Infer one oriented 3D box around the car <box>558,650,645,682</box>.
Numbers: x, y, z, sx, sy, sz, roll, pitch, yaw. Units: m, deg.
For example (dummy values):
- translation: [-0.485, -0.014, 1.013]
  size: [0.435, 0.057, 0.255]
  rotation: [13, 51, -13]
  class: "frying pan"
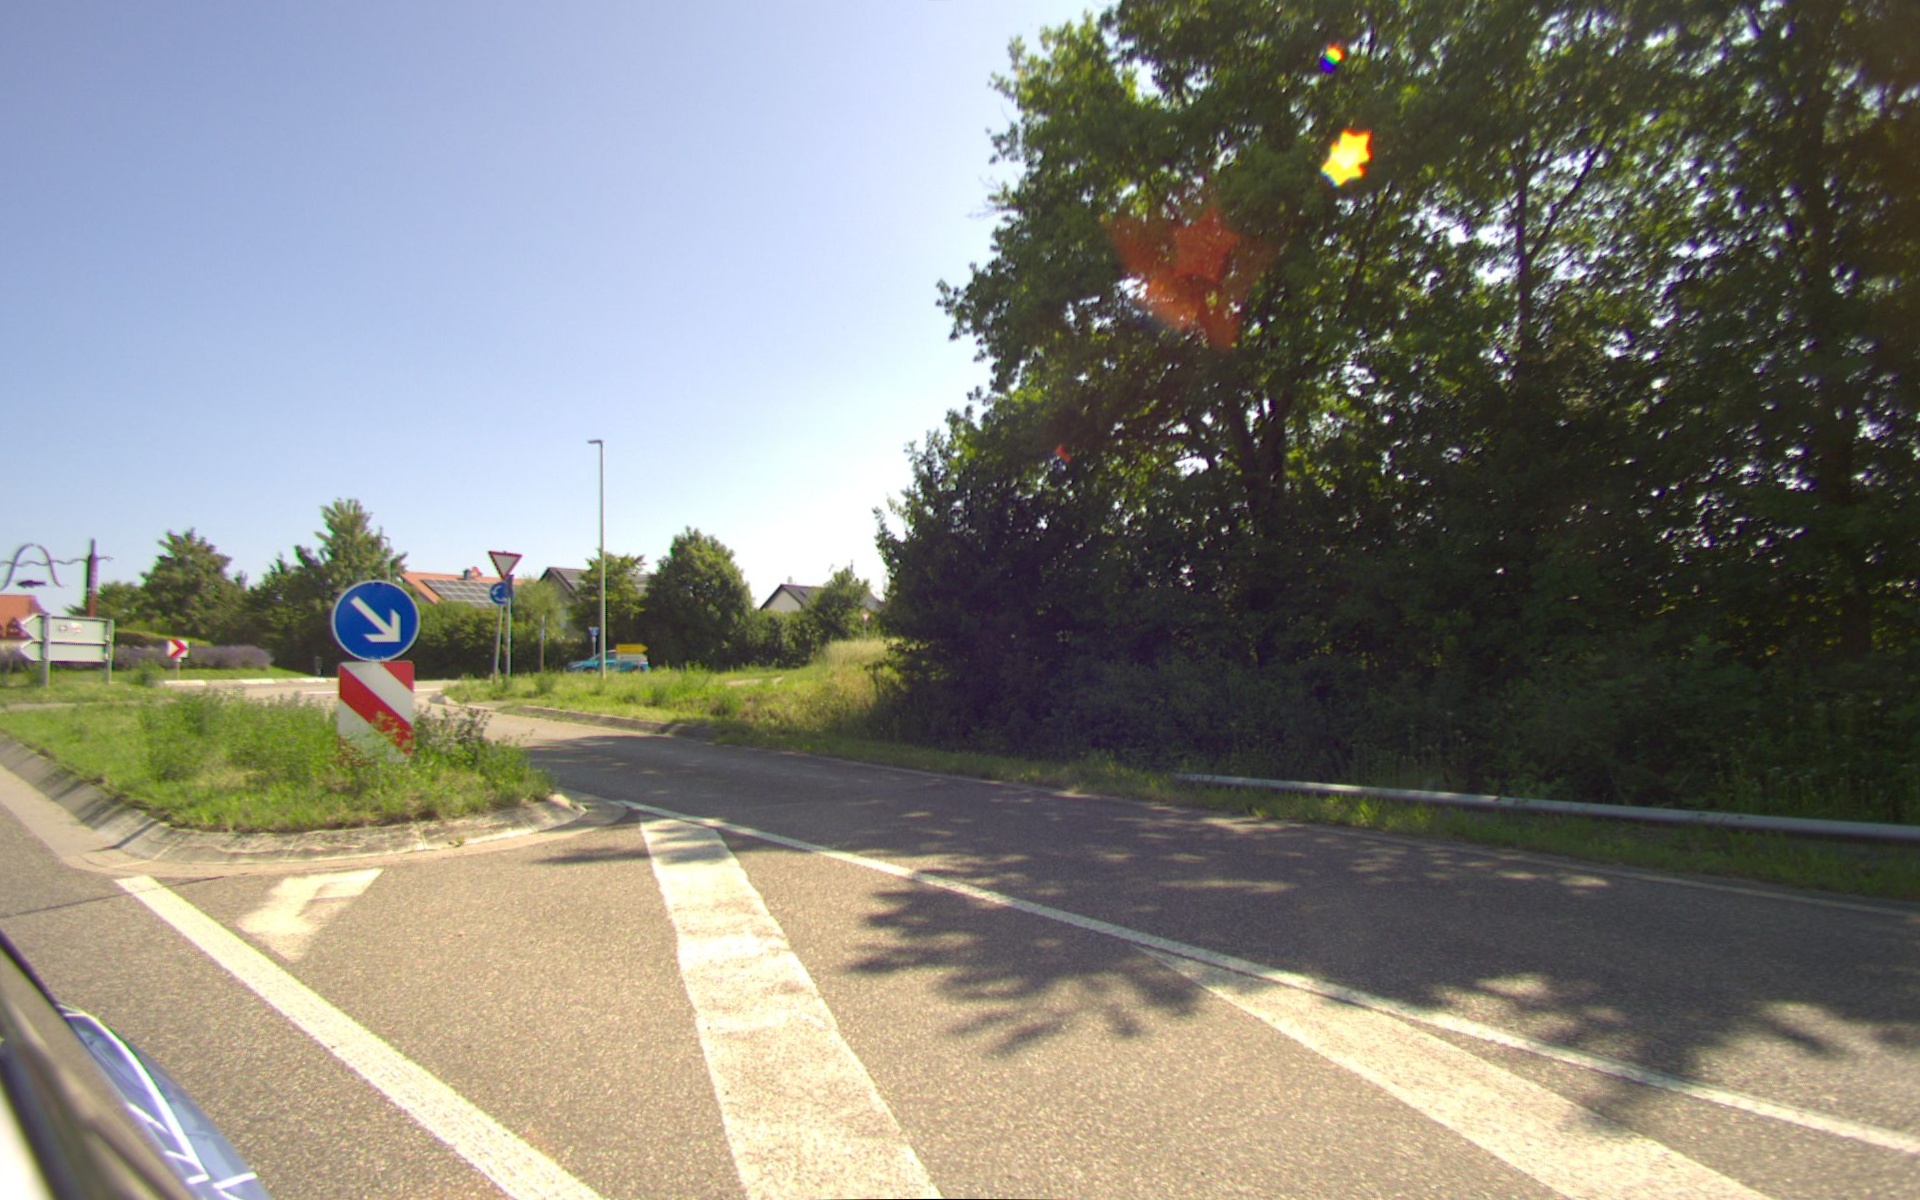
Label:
- translation: [-18.636, 3.429, 52.717]
  size: [3.936, 1.588, 1.652]
  rotation: [3, -5, -39]
  class: "car"
